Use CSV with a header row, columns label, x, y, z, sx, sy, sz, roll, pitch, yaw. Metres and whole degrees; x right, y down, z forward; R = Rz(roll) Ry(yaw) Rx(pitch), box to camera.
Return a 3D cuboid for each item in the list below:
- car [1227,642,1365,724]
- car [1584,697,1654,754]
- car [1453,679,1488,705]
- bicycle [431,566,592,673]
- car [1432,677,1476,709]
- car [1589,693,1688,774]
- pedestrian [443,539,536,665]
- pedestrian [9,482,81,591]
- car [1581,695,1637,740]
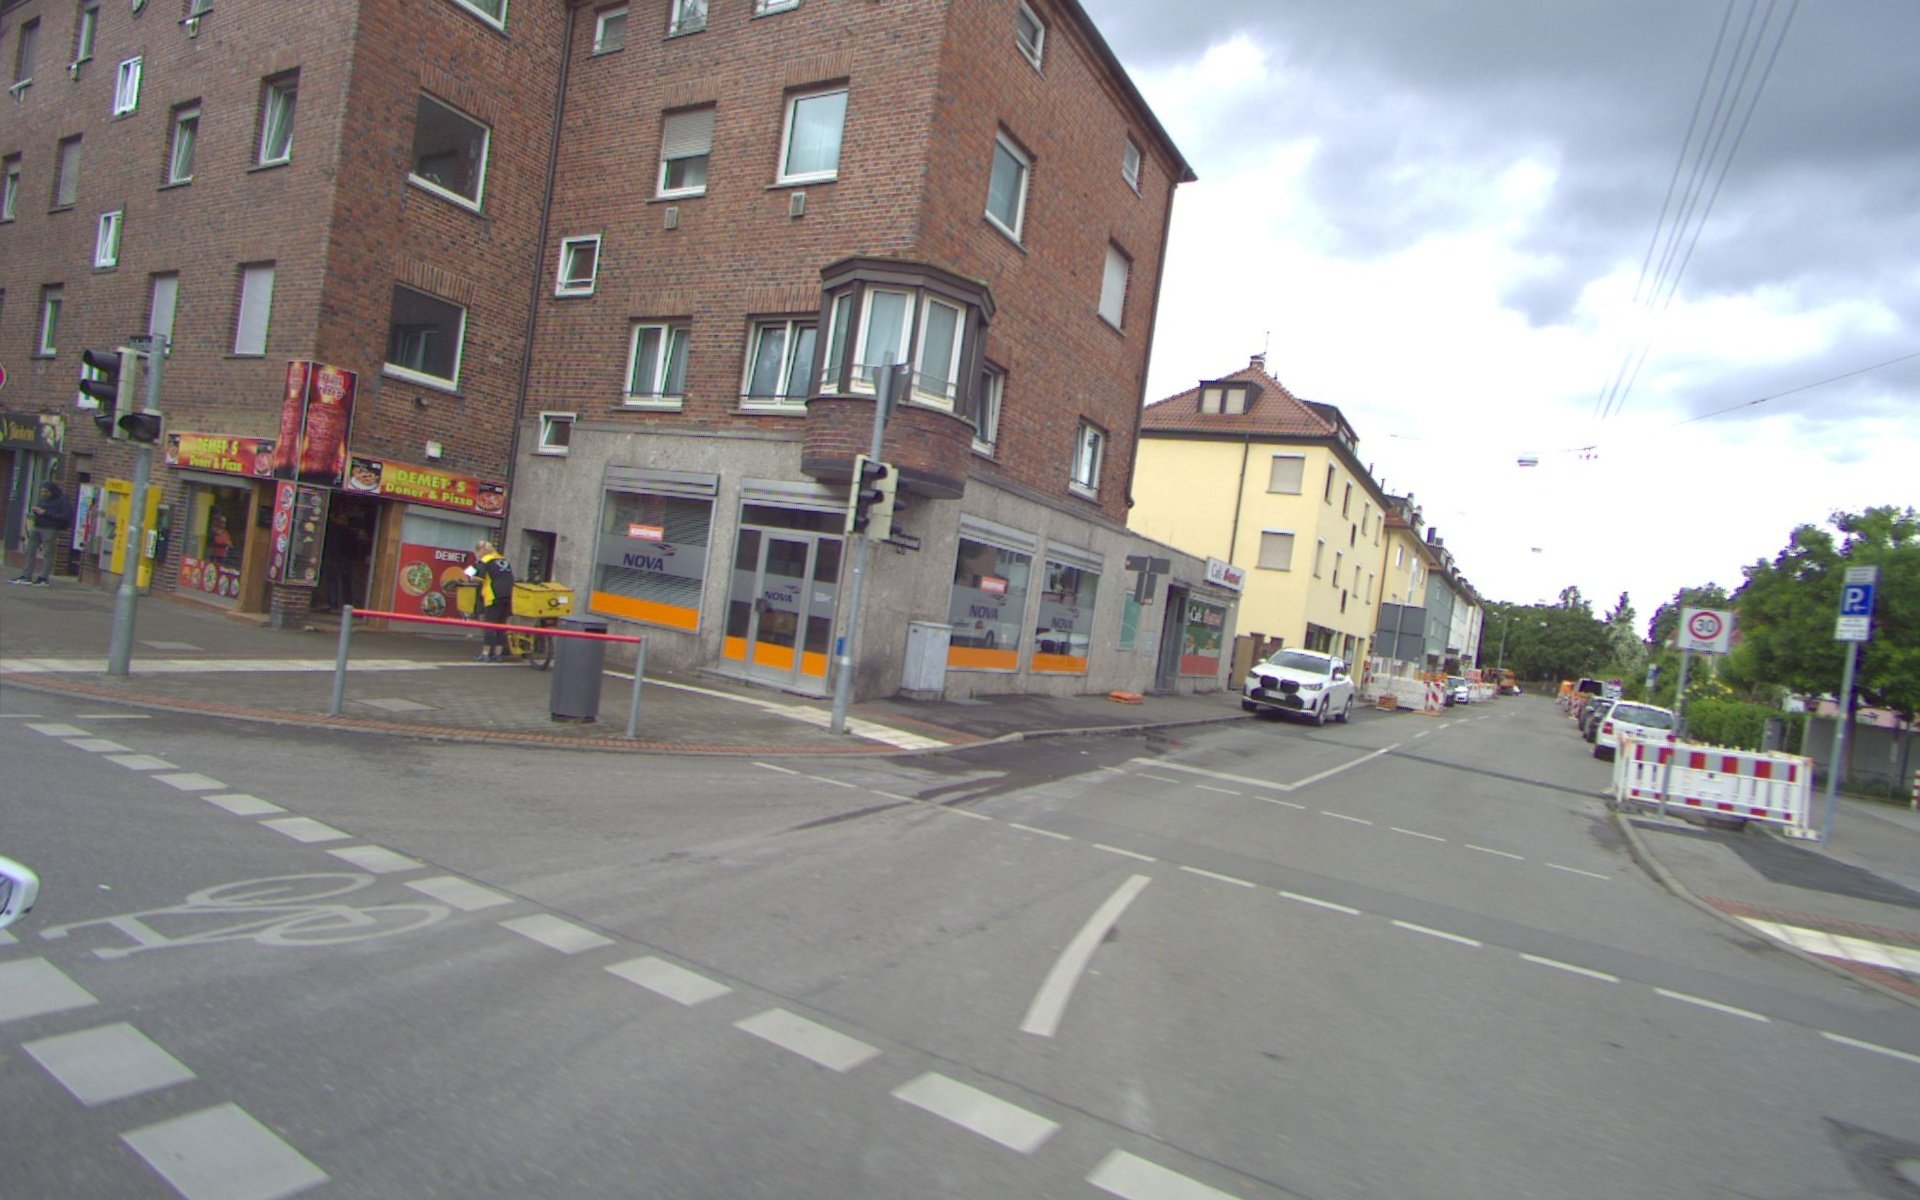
label,x,y,z,sx,sy,sz,roll,pitch,yaw
car,8.353,2.047,24.741,1.957,1.630,4.523,6,-1,34
car,23.116,4.374,35.403,1.738,1.537,3.791,11,1,32
car,33.558,6.047,66.095,1.676,1.436,3.994,7,-2,31
bicycle,-6.360,0.260,14.218,2.352,1.207,0.761,7,-1,31
car,27.533,5.192,55.980,1.677,1.436,3.993,7,-2,32
car,18.274,3.569,27.270,1.814,1.666,4.254,11,1,32
pedestrian,-6.660,0.033,14.240,0.759,1.678,0.788,7,2,31
pedestrian,-15.983,-1.105,17.568,0.766,1.771,0.647,7,-1,36
car,28.242,5.088,43.828,1.738,1.537,3.791,11,1,32
